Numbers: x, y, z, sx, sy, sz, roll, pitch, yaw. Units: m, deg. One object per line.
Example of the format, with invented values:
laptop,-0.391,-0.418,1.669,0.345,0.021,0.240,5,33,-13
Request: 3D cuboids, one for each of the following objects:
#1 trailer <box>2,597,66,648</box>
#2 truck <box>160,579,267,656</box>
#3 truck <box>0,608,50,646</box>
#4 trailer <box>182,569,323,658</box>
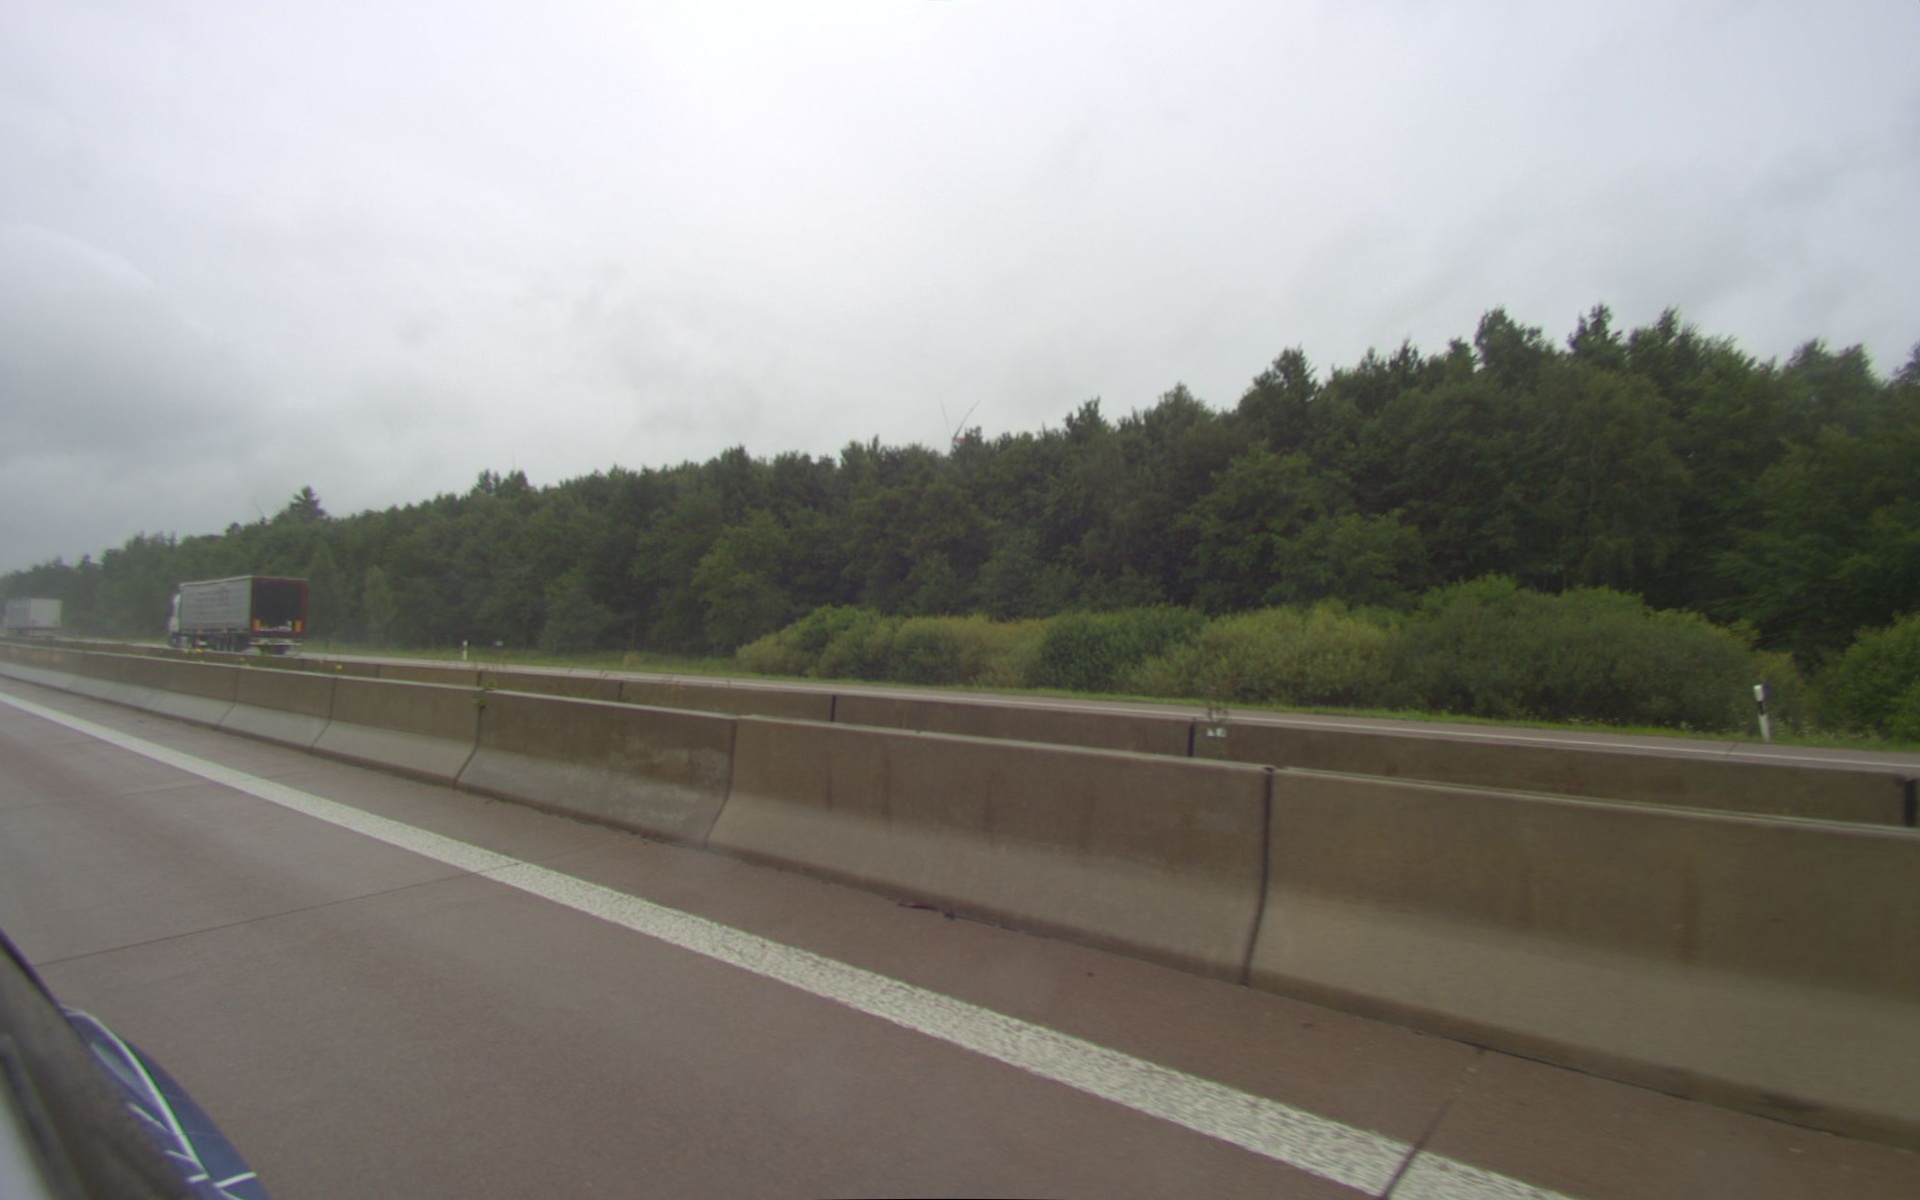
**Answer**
trailer,-94.551,2.236,103.216,12.438,4.903,3.395,-1,0,41
truck,-45.356,1.173,61.381,7.941,4.393,3.384,-2,-3,40
truck,-99.861,2.846,107.757,7.459,3.918,3.437,-1,0,41
trailer,-39.662,0.920,56.481,12.437,4.500,3.395,-2,-3,41
